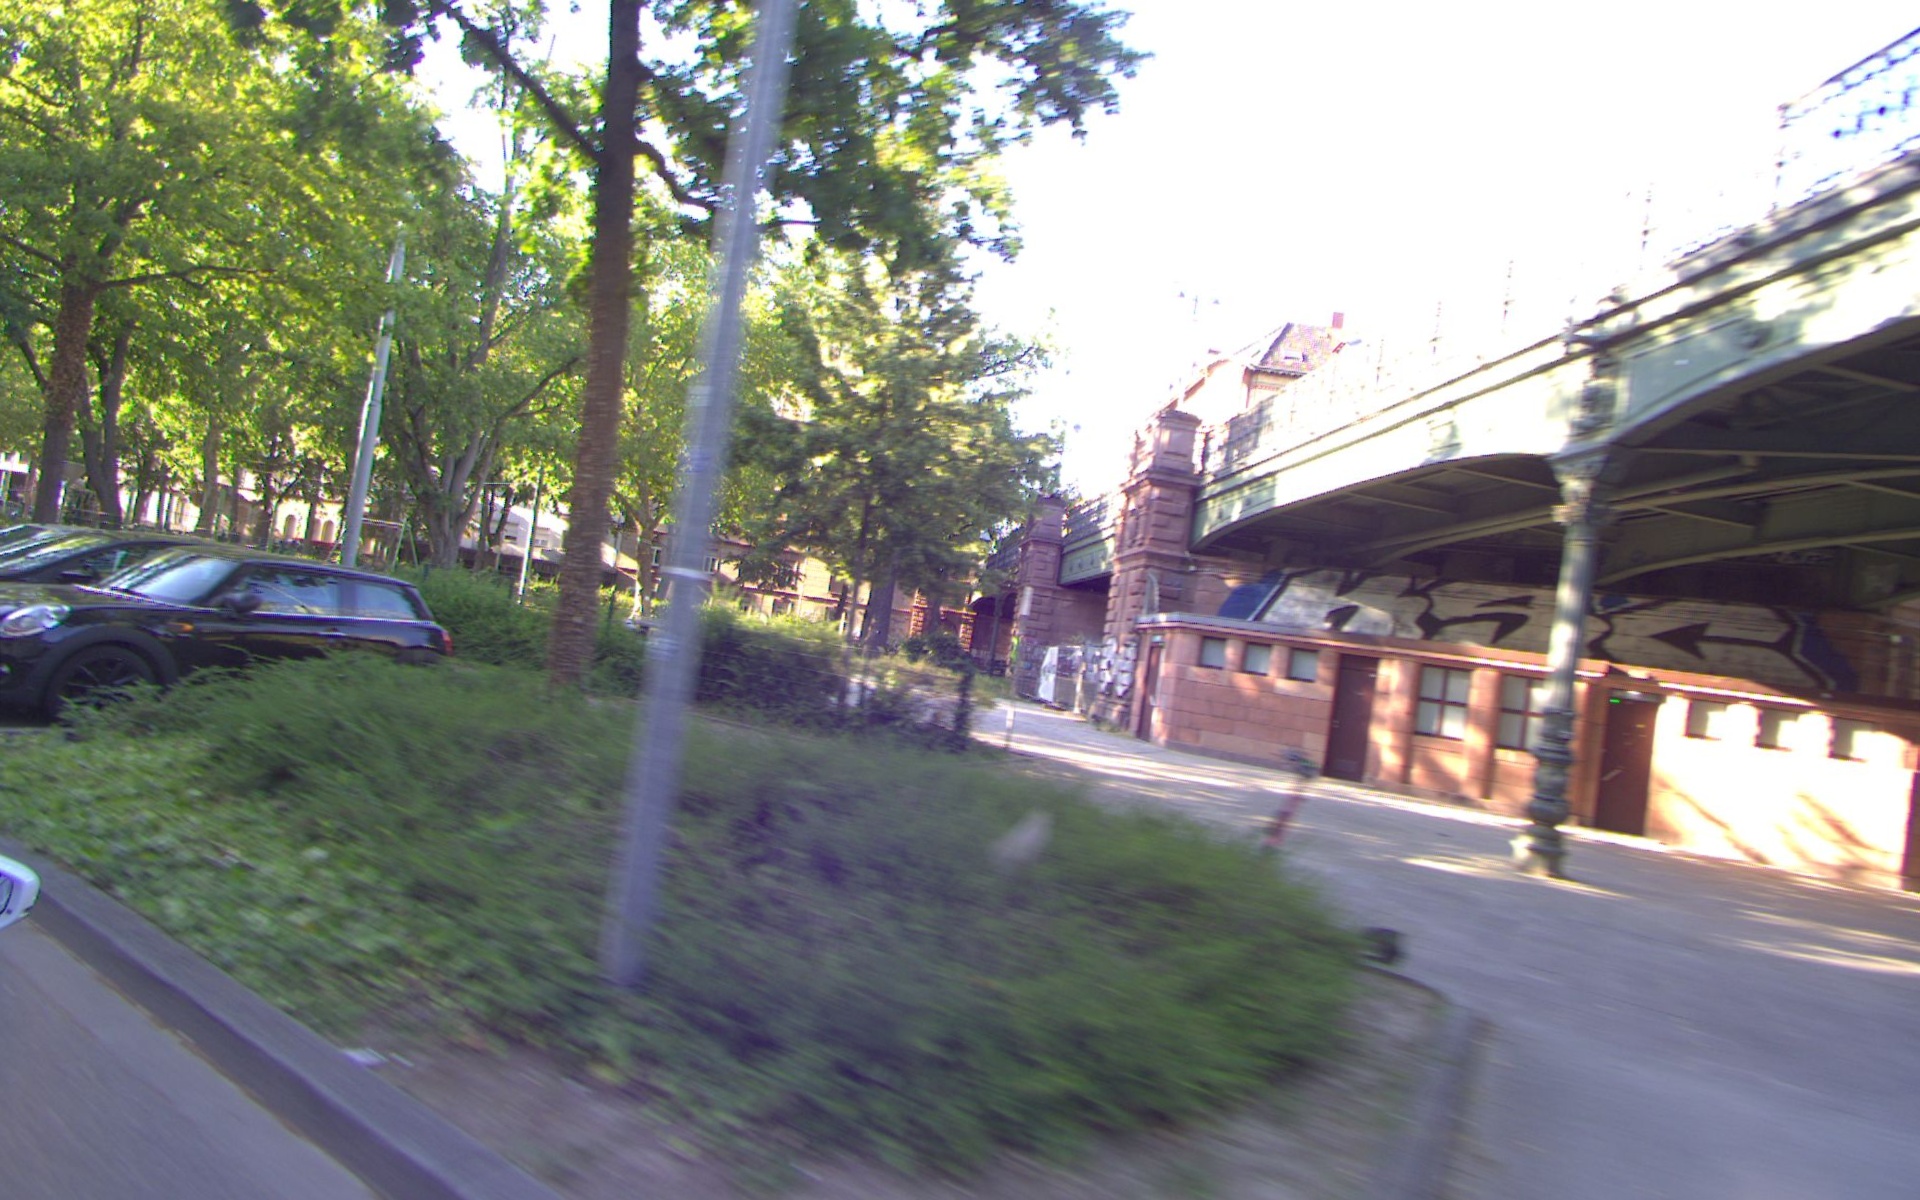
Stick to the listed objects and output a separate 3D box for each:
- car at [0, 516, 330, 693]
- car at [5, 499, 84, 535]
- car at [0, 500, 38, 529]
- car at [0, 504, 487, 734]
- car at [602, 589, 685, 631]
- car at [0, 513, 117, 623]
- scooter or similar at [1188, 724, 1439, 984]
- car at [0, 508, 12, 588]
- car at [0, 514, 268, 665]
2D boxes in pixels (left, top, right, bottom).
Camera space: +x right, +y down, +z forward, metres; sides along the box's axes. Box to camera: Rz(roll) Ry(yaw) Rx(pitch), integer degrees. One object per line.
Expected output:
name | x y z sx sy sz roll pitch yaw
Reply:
car | -8.568 0.014 9.642 1.796 1.417 3.792 6 -4 30
car | -65.556 -5.924 72.102 3.979 1.701 1.978 12 -6 -42
car | -71.247 -6.562 74.024 4.683 1.701 1.981 12 -6 -38
car | -6.234 0.244 8.482 1.606 1.488 3.796 6 -3 25
car | -21.103 0.682 67.126 4.648 2.034 2.005 7 -4 8
car | -14.260 -0.629 13.697 1.735 1.417 3.796 6 -3 25
scooter or similar | 2.220 1.536 6.349 1.304 1.311 0.478 5 -4 32
car | -16.567 -0.967 14.546 1.638 1.462 3.788 5 -4 34
car | -10.281 -0.173 11.224 1.636 1.417 3.794 6 -3 28
